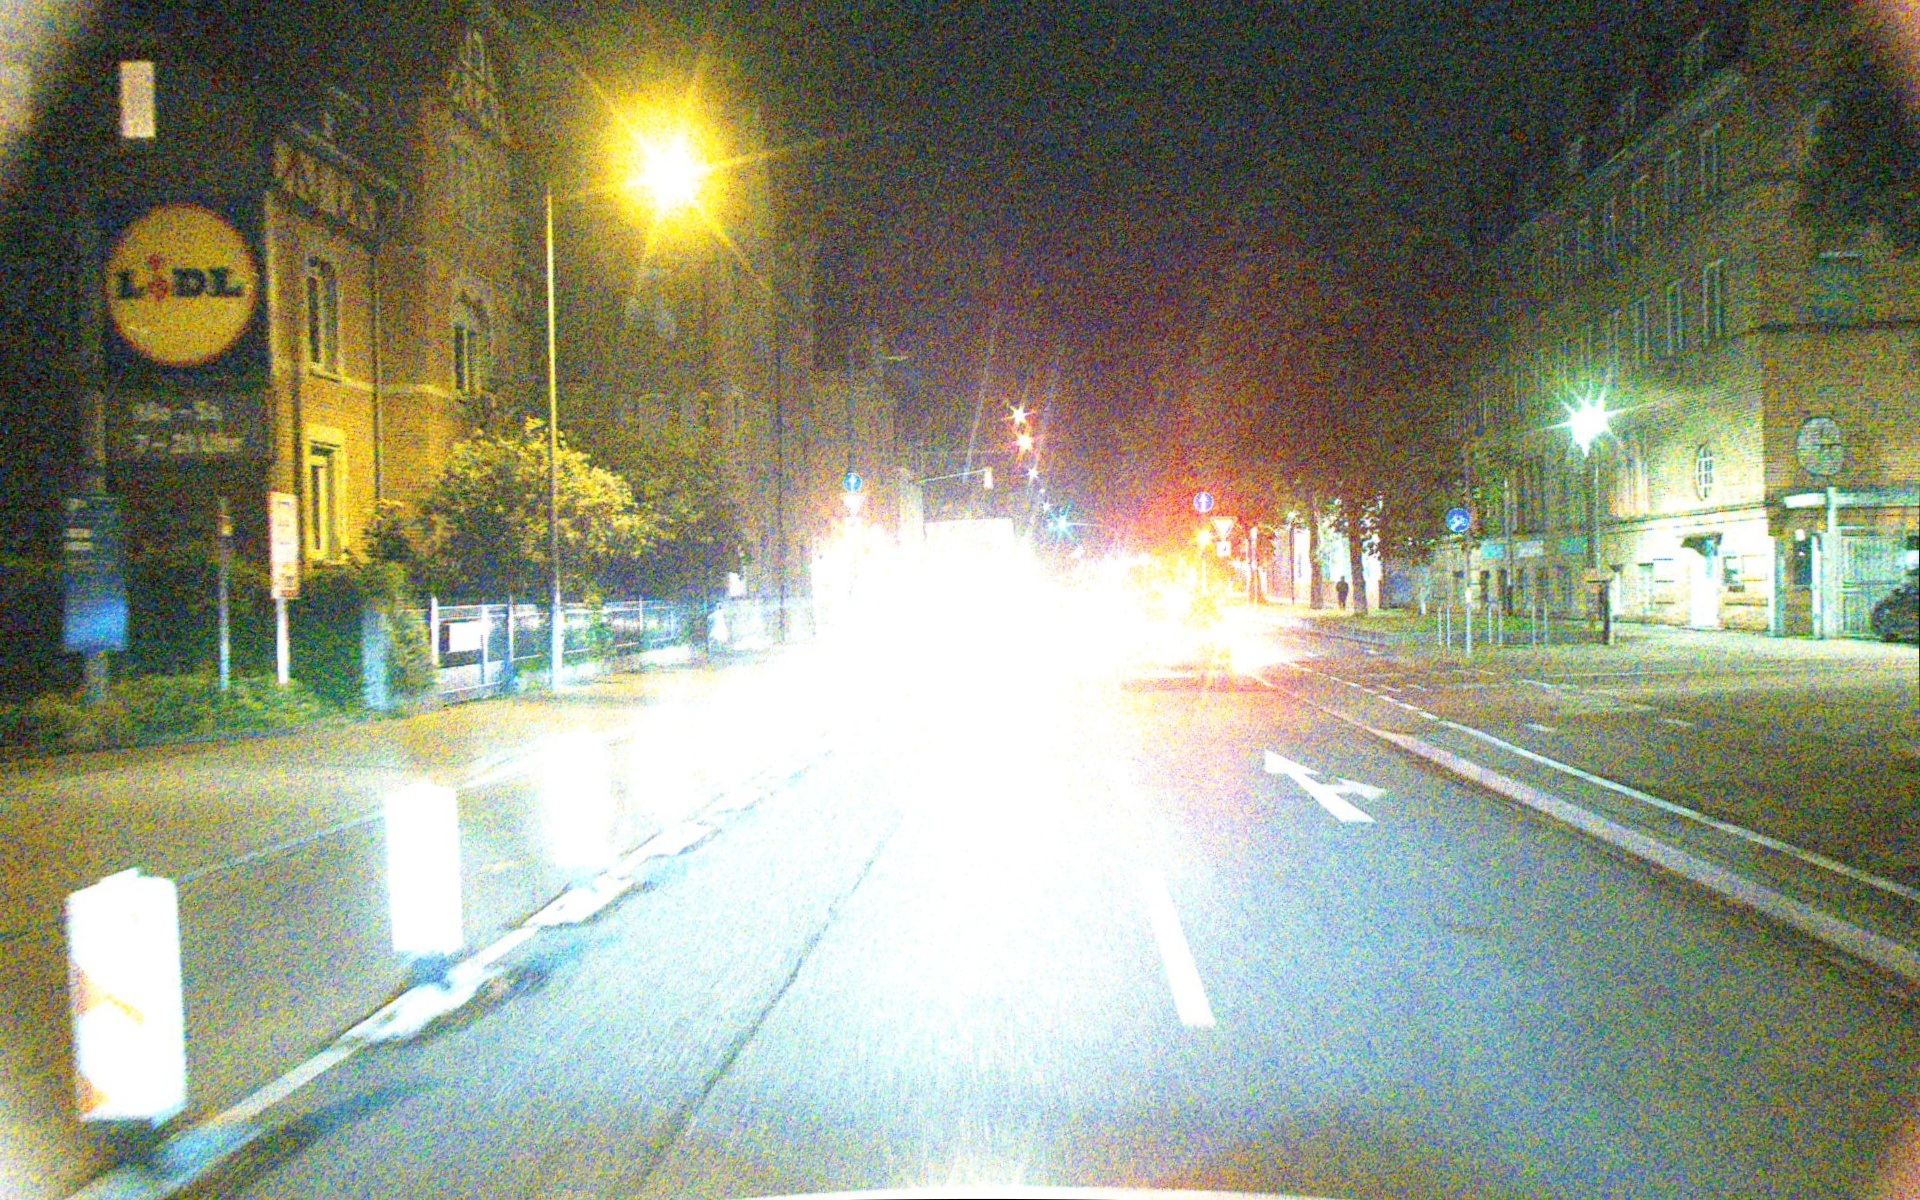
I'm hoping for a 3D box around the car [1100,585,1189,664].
[{"bbox_3d":[3.733,0.456,34.010,1.603,1.520,4.002,0,0,3],"label":"car"}]

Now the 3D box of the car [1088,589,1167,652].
[{"bbox_3d":[4.078,0.459,40.795,1.693,1.460,4.212,0,0,2],"label":"car"}]

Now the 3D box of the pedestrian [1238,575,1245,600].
[{"bbox_3d":[23.229,-1.042,136.410,0.477,2.049,0.551,-2,0,3],"label":"pedestrian"}]

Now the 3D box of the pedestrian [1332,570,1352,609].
[{"bbox_3d":[17.834,-0.487,77.132,0.699,1.799,0.907,-2,0,3],"label":"pedestrian"}]

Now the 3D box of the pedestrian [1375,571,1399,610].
[{"bbox_3d":[19.966,-0.438,77.300,0.882,1.799,0.907,-2,0,3],"label":"pedestrian"}]

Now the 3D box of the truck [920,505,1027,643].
[{"bbox_3d":[0.580,-0.772,52.167,2.698,3.782,10.117,-3,0,3],"label":"truck"}]

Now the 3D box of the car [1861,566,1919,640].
[{"bbox_3d":[19.114,0.039,31.637,1.481,1.419,4.483,-2,0,3],"label":"car"}]

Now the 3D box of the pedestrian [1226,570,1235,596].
[{"bbox_3d":[22.297,-1.403,136.342,0.520,2.049,0.670,-2,0,3],"label":"pedestrian"}]

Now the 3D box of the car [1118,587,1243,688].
[{"bbox_3d":[3.598,0.563,27.680,1.767,1.520,4.732,1,0,4],"label":"car"}]

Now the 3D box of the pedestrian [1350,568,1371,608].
[{"bbox_3d":[18.629,-0.569,76.979,0.723,1.799,0.907,-2,0,3],"label":"pedestrian"}]

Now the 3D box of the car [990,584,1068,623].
[{"bbox_3d":[3.149,0.135,74.680,1.955,1.668,3.995,-1,0,28],"label":"car"}]
